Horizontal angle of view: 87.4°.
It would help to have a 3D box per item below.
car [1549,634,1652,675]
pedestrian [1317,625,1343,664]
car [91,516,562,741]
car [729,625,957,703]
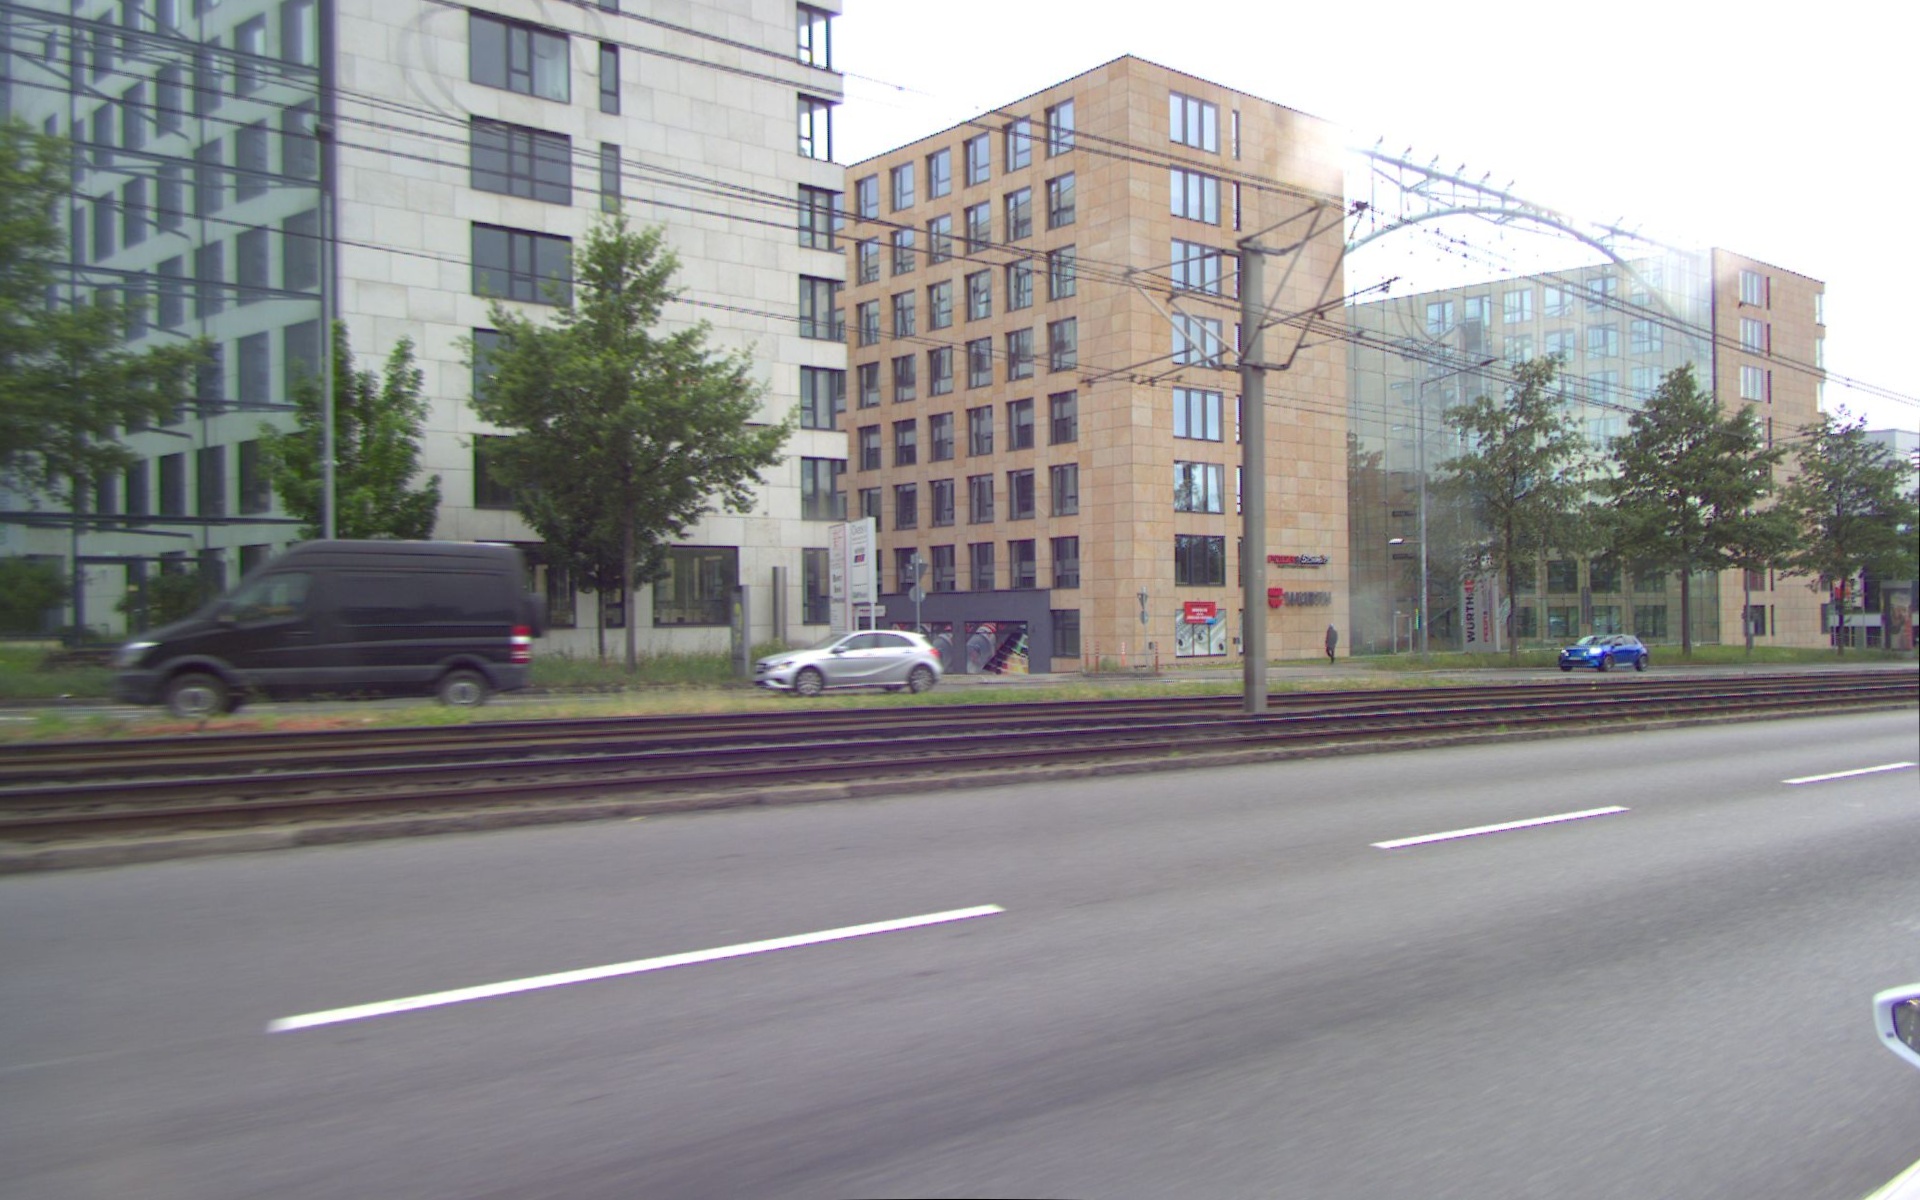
[{"bbox_3d":[25.999,2.219,40.745,3.976,1.473,1.833,3,-1,-29],"label":"car"},{"bbox_3d":[16.282,1.959,44.197,0.823,1.653,0.638,3,-1,-32],"label":"pedestrian"},{"bbox_3d":[-9.146,0.430,15.167,5.543,2.855,2.373,2,0,-29],"label":"car"},{"bbox_3d":[-2.580,1.386,22.460,4.758,1.554,1.752,2,0,-29],"label":"car"}]
